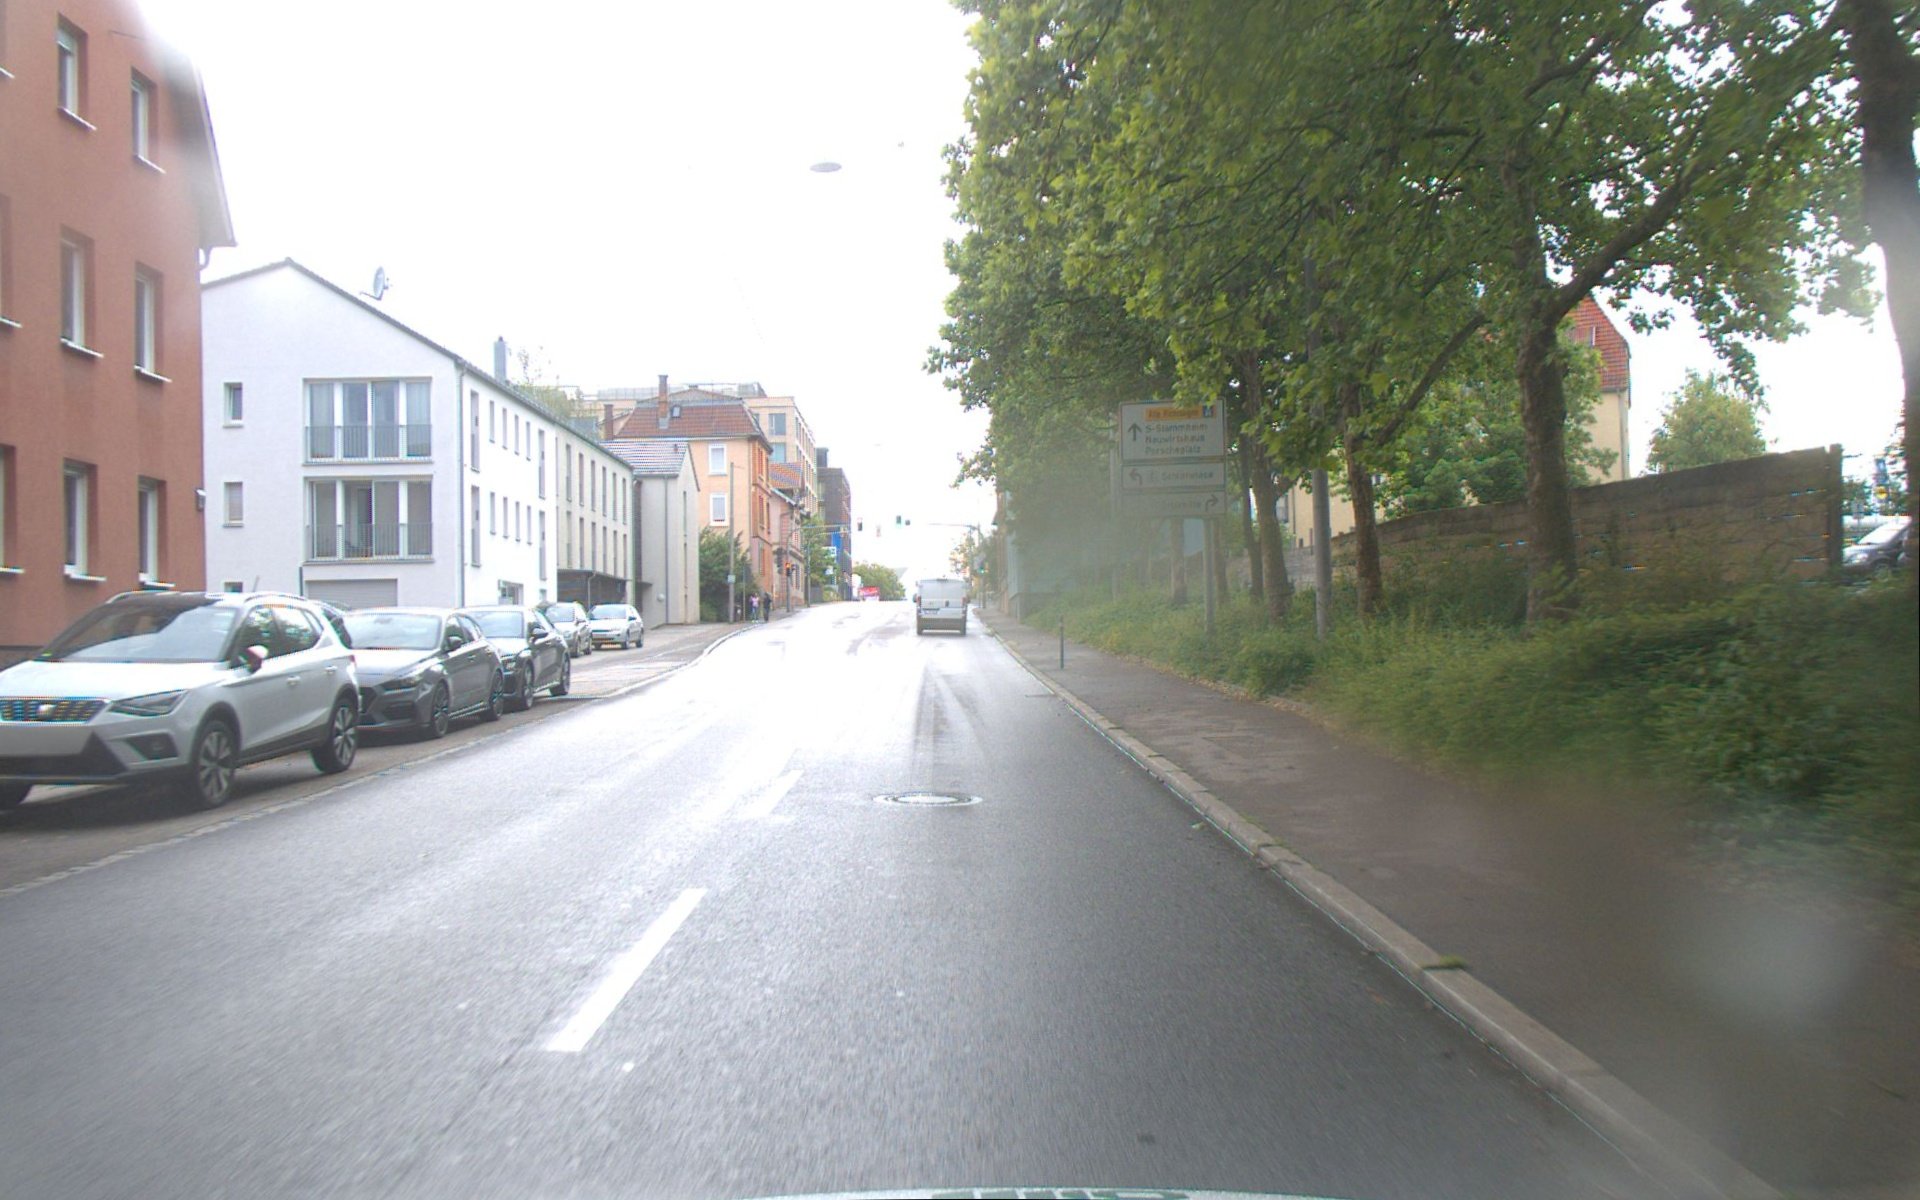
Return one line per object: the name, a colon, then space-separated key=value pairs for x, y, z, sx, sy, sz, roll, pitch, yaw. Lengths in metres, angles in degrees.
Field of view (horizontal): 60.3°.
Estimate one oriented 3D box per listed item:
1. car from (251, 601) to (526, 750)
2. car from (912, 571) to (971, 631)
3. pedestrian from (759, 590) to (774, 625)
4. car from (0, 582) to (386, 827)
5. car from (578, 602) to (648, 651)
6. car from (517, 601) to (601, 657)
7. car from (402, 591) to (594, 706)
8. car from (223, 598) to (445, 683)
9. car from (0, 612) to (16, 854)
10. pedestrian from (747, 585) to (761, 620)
car: x=-6.462 y=0.778 z=19.242 sx=1.708 sy=1.508 sz=4.385 roll=0 pitch=0 yaw=-1
car: x=-0.734 y=0.091 z=67.022 sx=2.288 sy=2.270 sz=3.999 roll=-2 pitch=-2 yaw=0
pedestrian: x=-11.260 y=0.424 z=96.254 sx=0.657 sy=2.049 sz=0.942 roll=0 pitch=0 yaw=3
car: x=-6.154 y=0.695 z=13.211 sx=1.656 sy=1.569 sz=4.117 roll=-3 pitch=1 yaw=-1
car: x=-11.713 y=0.855 z=55.989 sx=1.634 sy=1.557 sz=4.093 roll=-1 pitch=0 yaw=-3
car: x=-11.839 y=0.827 z=49.023 sx=1.634 sy=1.557 sz=4.093 roll=-1 pitch=0 yaw=-3
car: x=-6.663 y=0.668 z=24.290 sx=1.601 sy=1.508 sz=4.358 roll=1 pitch=-1 yaw=-1
car: x=-13.765 y=0.879 z=36.528 sx=4.063 sy=1.727 sz=2.001 roll=-1 pitch=0 yaw=2
car: x=-6.272 y=0.769 z=7.806 sx=1.606 sy=1.397 sz=3.757 roll=0 pitch=0 yaw=-3
pedestrian: x=-12.000 y=0.149 z=96.315 sx=0.657 sy=2.049 sz=0.942 roll=0 pitch=0 yaw=3
